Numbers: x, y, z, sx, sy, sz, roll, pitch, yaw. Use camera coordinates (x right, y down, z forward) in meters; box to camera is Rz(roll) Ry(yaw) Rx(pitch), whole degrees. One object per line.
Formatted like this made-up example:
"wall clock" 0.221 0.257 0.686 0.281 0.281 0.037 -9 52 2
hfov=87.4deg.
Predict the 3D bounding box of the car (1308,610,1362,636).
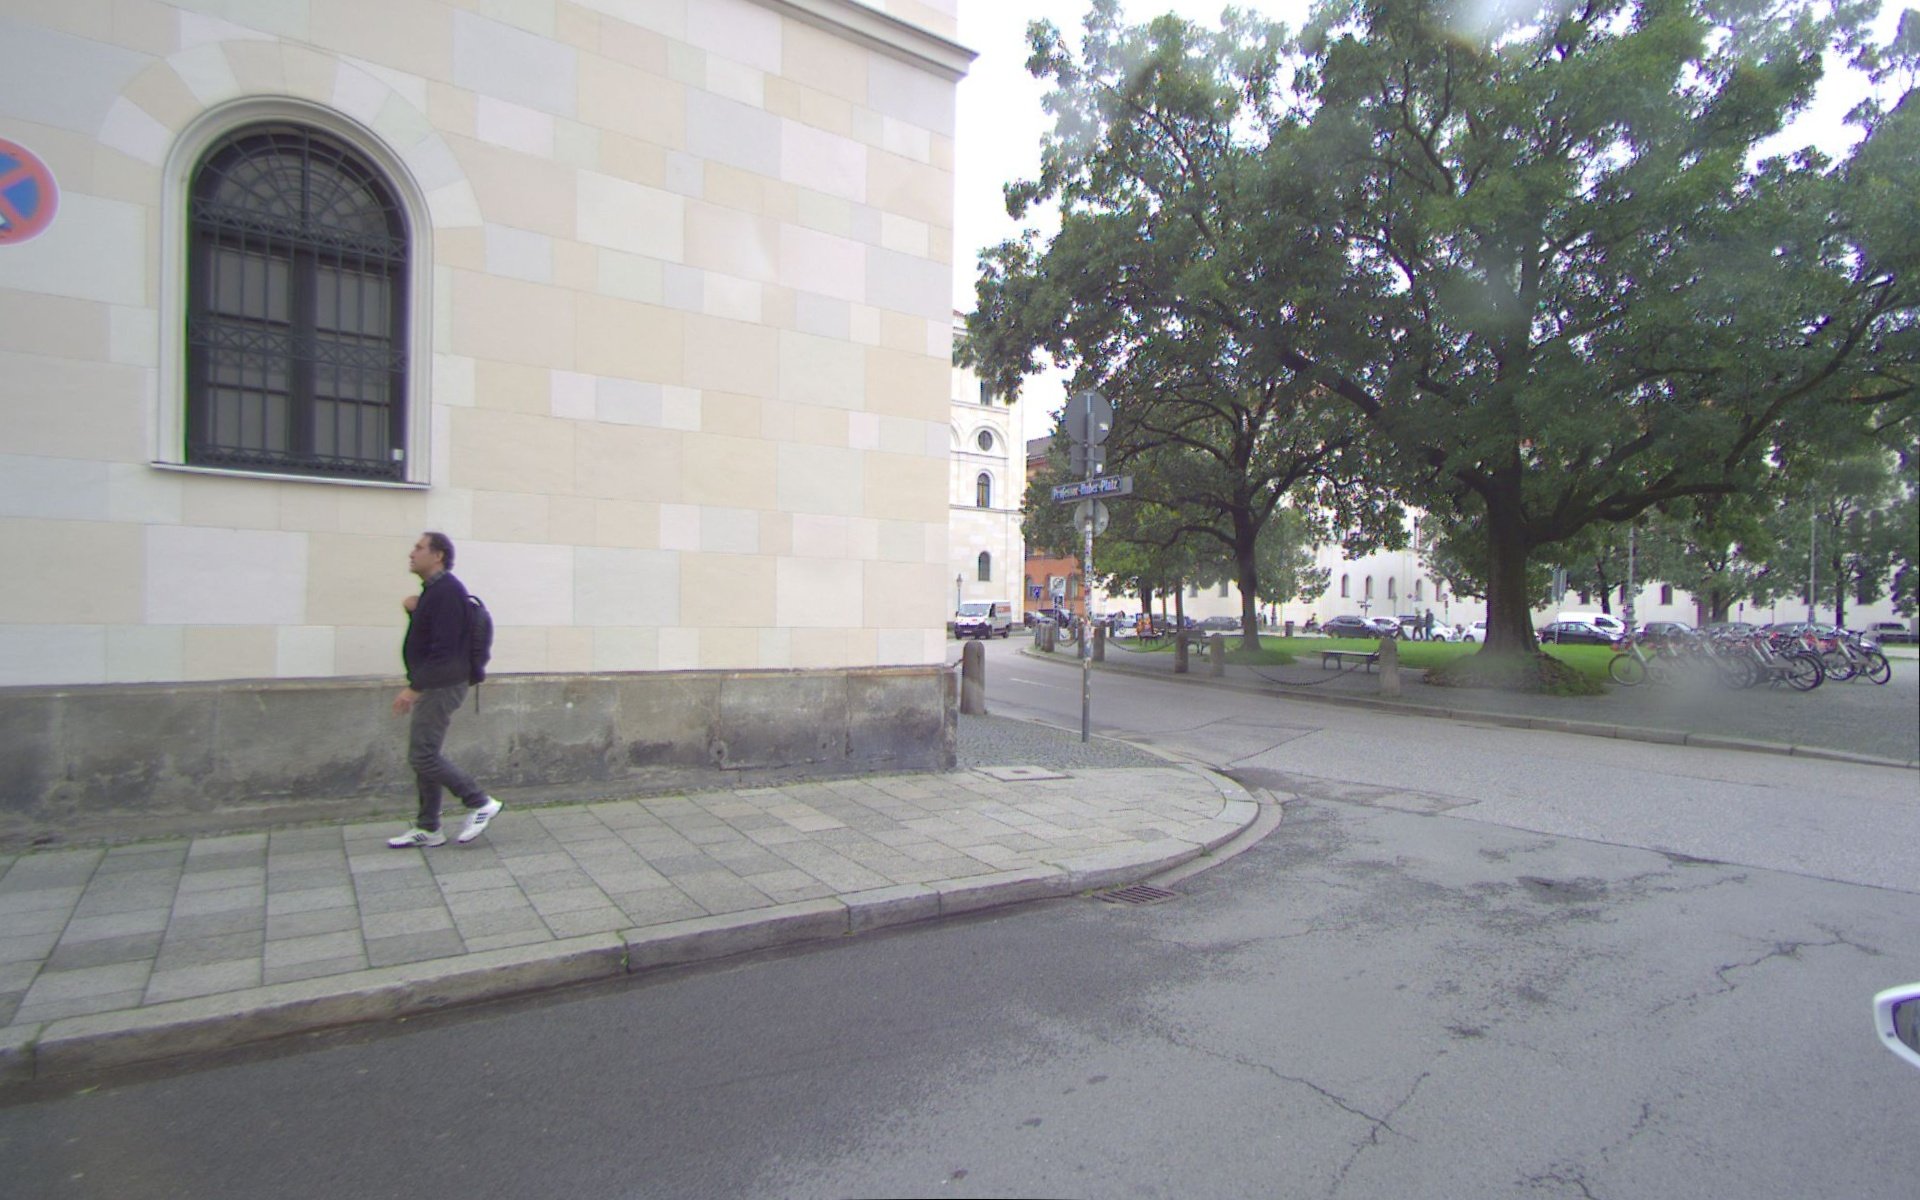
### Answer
"car" 29.279 1.769 78.500 1.719 1.921 3.529 1 0 -38

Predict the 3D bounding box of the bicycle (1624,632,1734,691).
"bicycle" 14.059 1.172 19.689 0.688 1.049 1.615 1 0 -23

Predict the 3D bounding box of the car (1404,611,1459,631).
"car" 33.432 1.485 71.212 1.496 1.394 3.225 1 -1 -35

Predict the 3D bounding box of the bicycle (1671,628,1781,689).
"bicycle" 15.421 1.152 20.263 0.688 1.113 1.615 1 0 -23

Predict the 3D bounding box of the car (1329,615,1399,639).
"car" 25.405 1.676 63.245 1.587 1.394 3.879 1 -1 -35

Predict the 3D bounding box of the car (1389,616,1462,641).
"car" 27.719 1.686 59.877 1.587 1.394 3.647 1 -1 -35

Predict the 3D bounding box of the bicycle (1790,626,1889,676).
"bicycle" 19.873 1.129 22.724 0.688 1.033 1.532 1 0 -23

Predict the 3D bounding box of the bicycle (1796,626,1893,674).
"bicycle" 20.461 1.134 23.262 0.688 1.033 1.532 1 0 -23

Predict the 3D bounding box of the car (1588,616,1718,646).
"car" 34.582 1.521 50.276 1.980 1.394 5.039 1 -1 -35

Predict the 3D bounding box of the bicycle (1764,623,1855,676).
"bicycle" 19.000 1.088 22.490 0.647 1.113 1.397 1 0 -23

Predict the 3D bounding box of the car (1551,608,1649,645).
"car" 37.603 1.530 59.083 1.984 2.040 4.499 1 -1 -40

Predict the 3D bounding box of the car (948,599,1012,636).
"car" 1.202 0.963 57.750 2.131 2.040 4.837 1 0 21

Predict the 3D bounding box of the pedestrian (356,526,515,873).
"pedestrian" -2.952 0.516 5.639 0.683 1.772 0.749 1 -1 -36

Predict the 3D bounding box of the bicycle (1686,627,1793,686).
"bicycle" 16.050 1.146 20.723 0.688 1.113 1.615 1 0 -23

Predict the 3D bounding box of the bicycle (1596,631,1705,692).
"bicycle" 13.288 1.161 19.373 0.688 1.049 1.615 1 0 -23

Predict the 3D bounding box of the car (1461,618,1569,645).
"car" 30.731 1.697 55.779 1.980 1.394 4.934 1 -1 -35

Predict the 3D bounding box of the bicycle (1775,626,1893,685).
"bicycle" 18.059 1.131 20.800 0.688 1.113 1.706 1 0 -23

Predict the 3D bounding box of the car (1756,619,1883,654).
"car" 38.011 1.578 44.501 1.980 1.394 3.960 1 -1 -36

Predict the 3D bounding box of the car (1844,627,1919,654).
"car" 53.279 2.299 57.615 1.588 1.394 3.645 1 -1 -37

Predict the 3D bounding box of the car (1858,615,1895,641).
"car" 74.945 2.275 82.179 2.108 2.040 4.169 1 0 42

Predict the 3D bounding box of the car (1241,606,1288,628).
"car" 29.551 1.619 97.632 1.981 2.040 3.959 1 0 -36

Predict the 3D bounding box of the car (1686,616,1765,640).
"car" 47.698 1.718 62.635 1.587 1.394 3.647 1 -1 -35

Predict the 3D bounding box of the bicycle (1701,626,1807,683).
"bicycle" 16.766 1.130 21.256 0.688 1.113 1.615 1 0 -23

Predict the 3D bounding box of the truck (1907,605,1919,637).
"truck" 78.434 1.696 81.693 1.973 2.522 3.975 1 1 44

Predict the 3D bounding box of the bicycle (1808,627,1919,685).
"bicycle" 18.786 1.142 20.906 0.607 1.113 1.615 1 0 -23

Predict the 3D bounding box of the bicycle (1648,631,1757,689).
"bicycle" 14.741 1.174 19.980 0.688 1.049 1.615 1 0 -23

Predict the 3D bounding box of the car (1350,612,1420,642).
"car" 28.775 1.804 68.097 1.842 1.887 3.952 1 0 -40
